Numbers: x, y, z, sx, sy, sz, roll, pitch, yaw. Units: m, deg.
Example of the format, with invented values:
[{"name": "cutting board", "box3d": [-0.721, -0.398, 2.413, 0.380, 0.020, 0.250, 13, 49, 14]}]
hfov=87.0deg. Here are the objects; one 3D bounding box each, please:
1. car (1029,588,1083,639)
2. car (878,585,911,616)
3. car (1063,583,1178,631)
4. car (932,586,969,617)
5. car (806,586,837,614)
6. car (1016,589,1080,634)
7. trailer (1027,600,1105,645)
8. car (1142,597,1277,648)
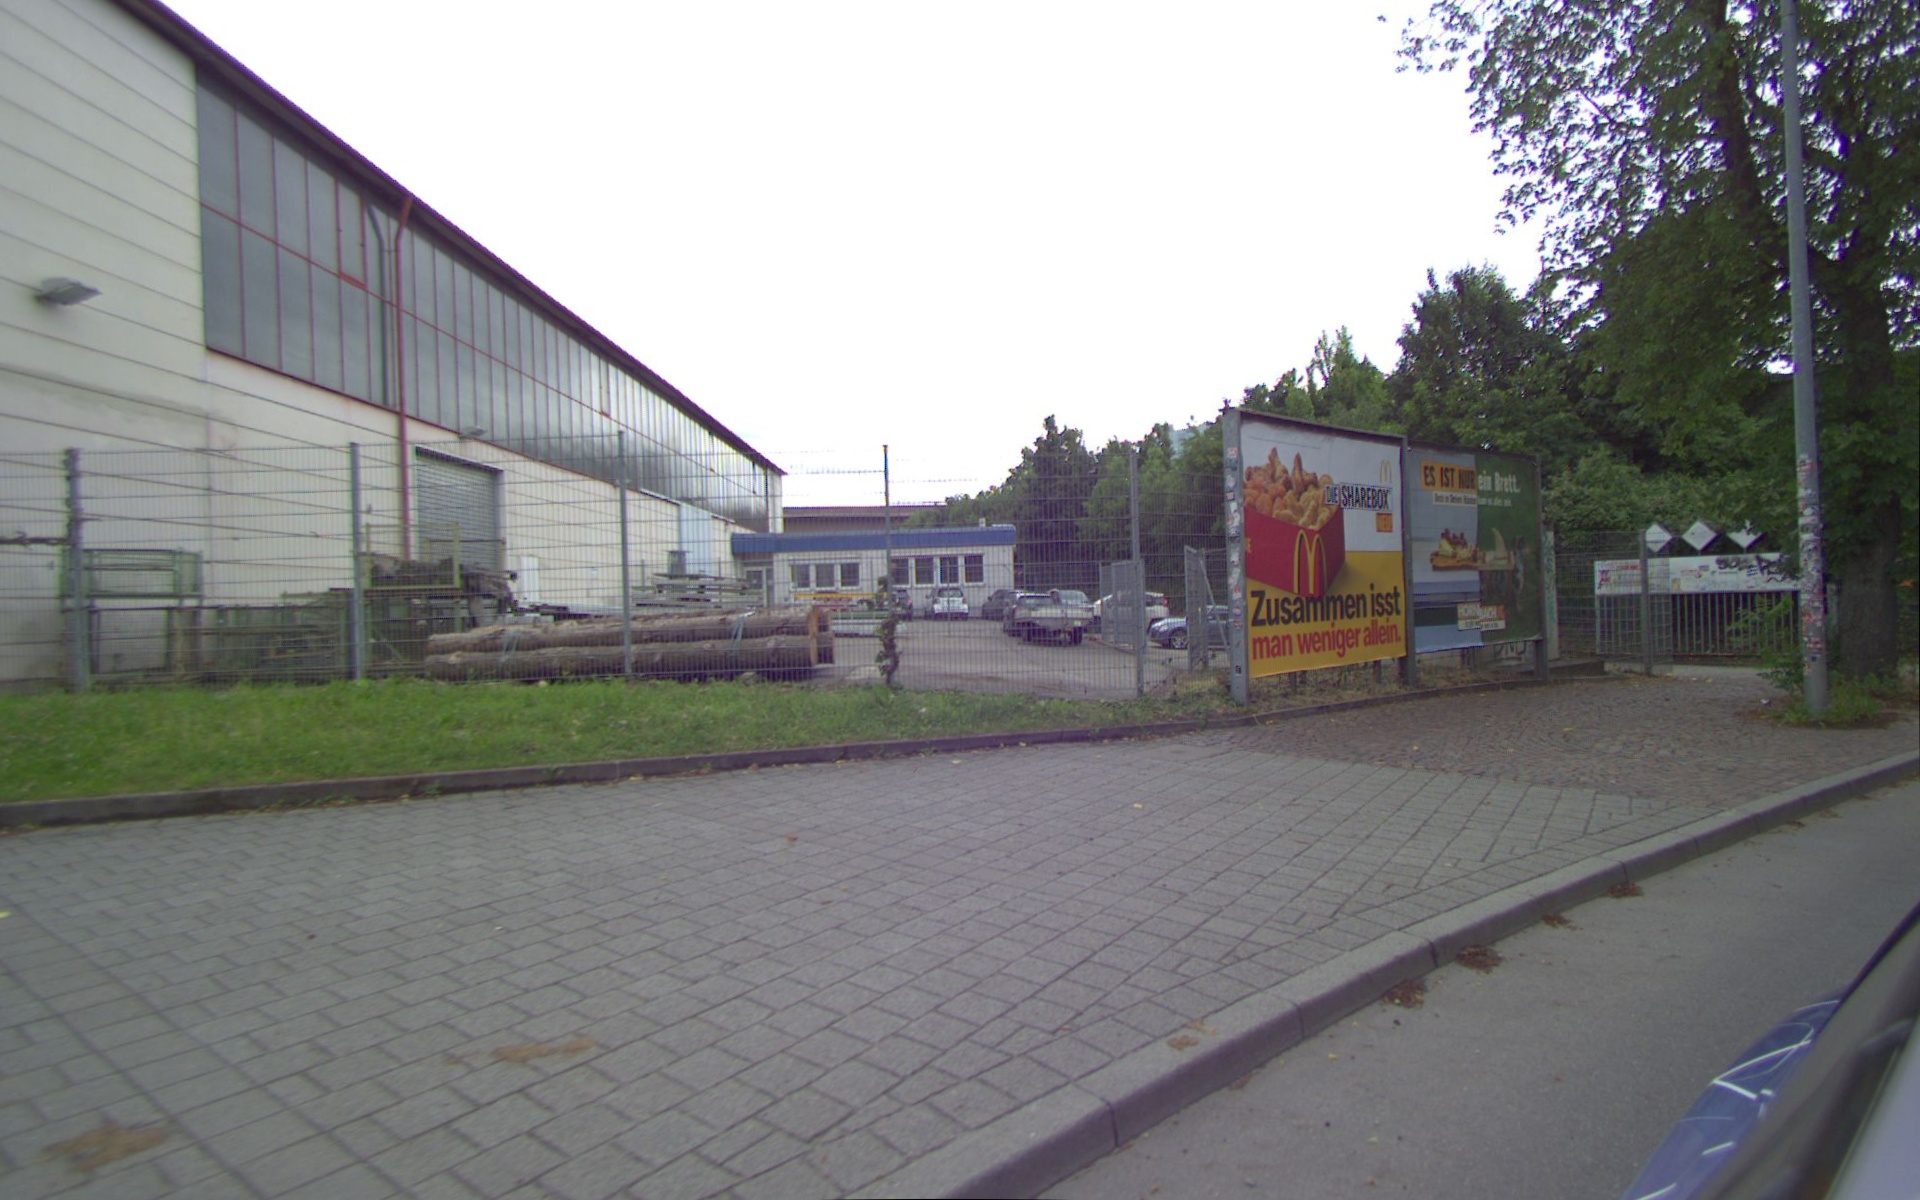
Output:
[{"name": "car", "box3d": [2.866, 0.377, 30.582, 1.345, 1.458, 2.854, 1, 0, 0]}, {"name": "car", "box3d": [-2.988, -0.002, 45.804, 1.310, 1.348, 3.315, 1, 0, -6]}, {"name": "car", "box3d": [5.669, 0.239, 36.058, 3.735, 1.550, 1.567, 1, 1, -4]}, {"name": "car", "box3d": [-0.456, 0.064, 45.616, 1.310, 1.348, 3.315, 1, 0, -6]}, {"name": "car", "box3d": [-6.307, 0.001, 46.366, 1.310, 1.224, 3.315, 1, 0, -6]}, {"name": "car", "box3d": [2.902, 0.352, 34.062, 1.773, 1.394, 3.798, -1, 0, 0]}, {"name": "trailer", "box3d": [2.867, 0.580, 27.793, 1.814, 1.152, 2.639, -1, 0, 0]}, {"name": "car", "box3d": [6.923, 0.604, 28.269, 3.303, 1.268, 1.473, 2, 1, -4]}]
